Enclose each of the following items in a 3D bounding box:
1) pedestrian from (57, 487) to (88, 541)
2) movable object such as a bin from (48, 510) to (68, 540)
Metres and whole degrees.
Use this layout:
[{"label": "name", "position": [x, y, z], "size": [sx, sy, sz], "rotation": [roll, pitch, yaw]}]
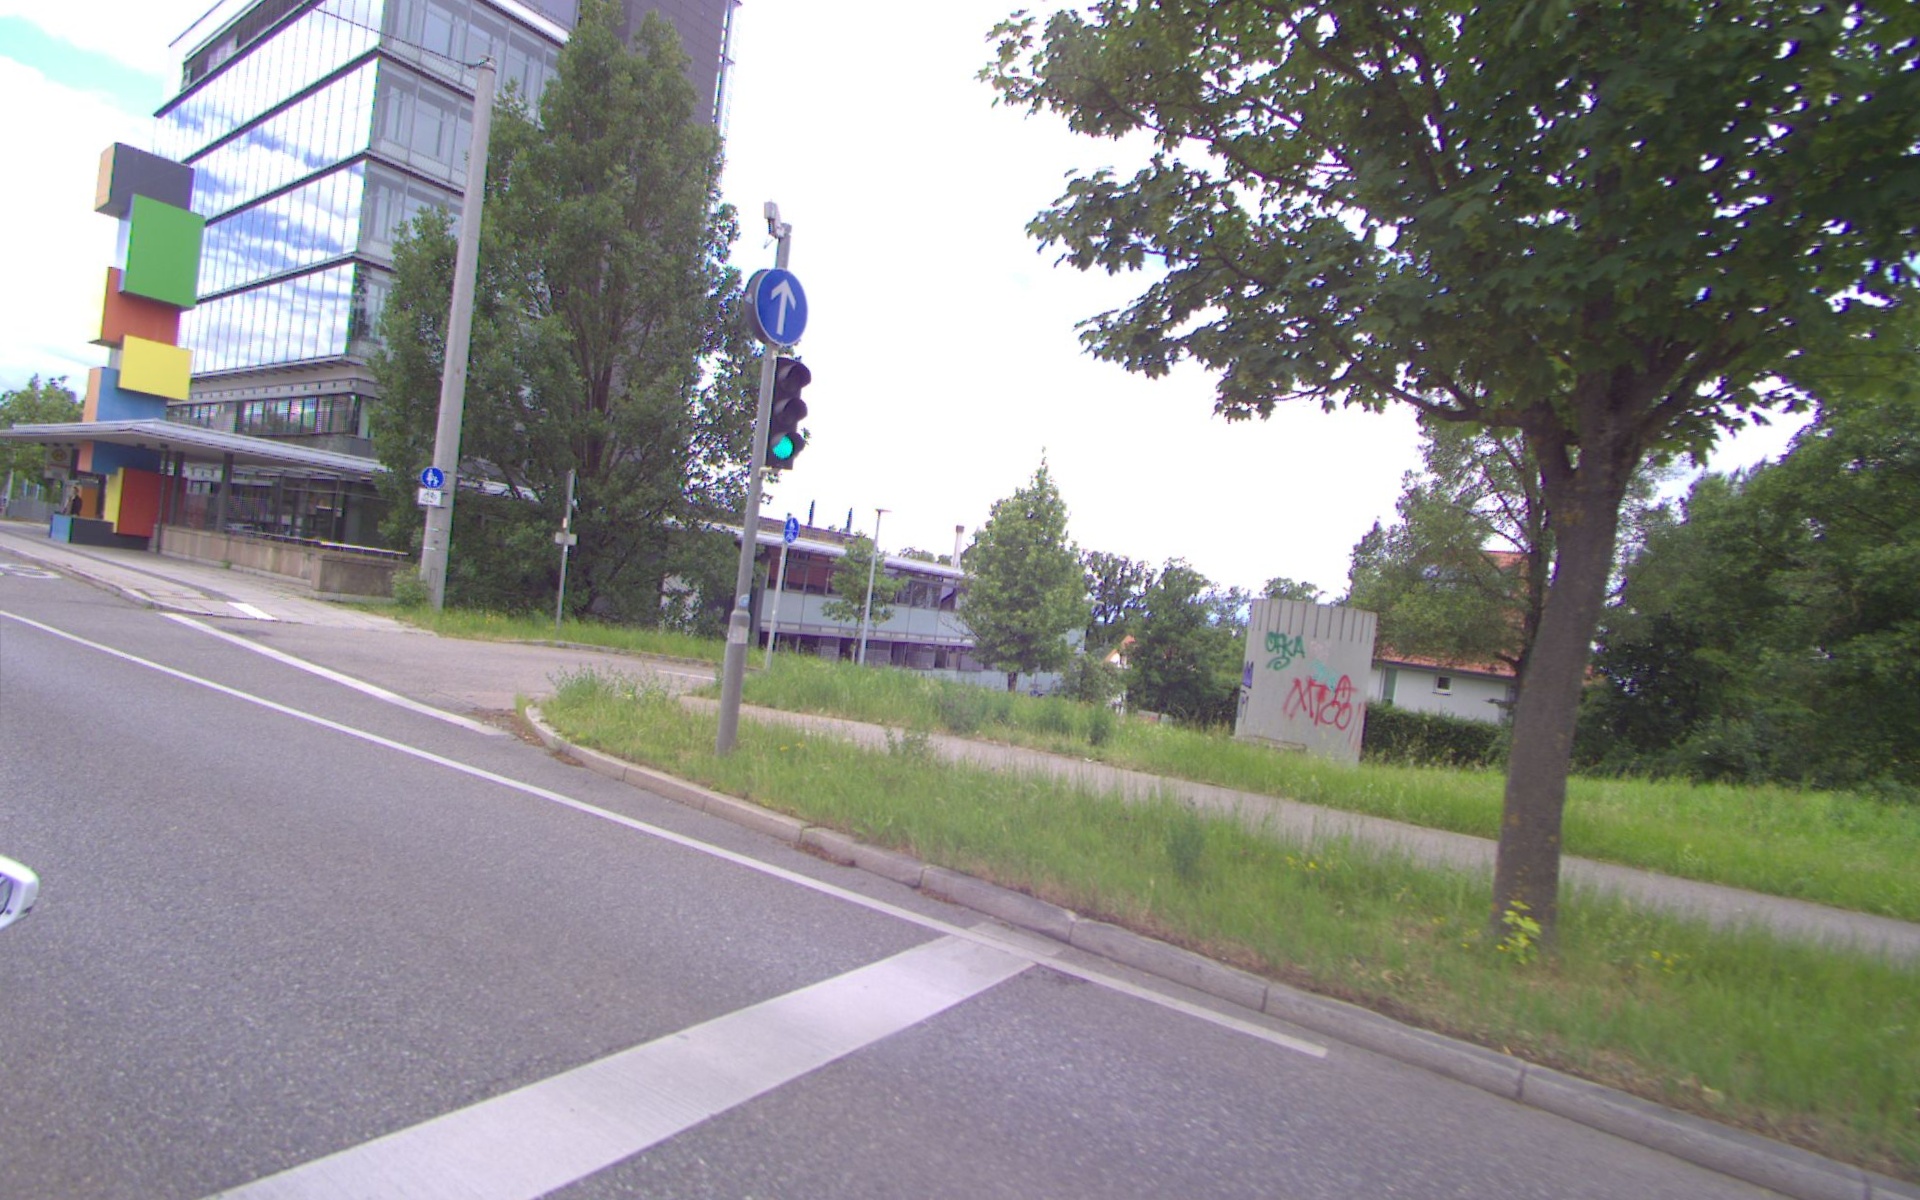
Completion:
[{"label": "pedestrian", "position": [-29.317, -2.855, 33.219], "size": [0.722, 1.693, 0.524], "rotation": [7, 0, 40]}, {"label": "movable object such as a bin", "position": [-29.152, -2.426, 32.507], "size": [0.455, 0.909, 0.356], "rotation": [7, 0, 40]}]
